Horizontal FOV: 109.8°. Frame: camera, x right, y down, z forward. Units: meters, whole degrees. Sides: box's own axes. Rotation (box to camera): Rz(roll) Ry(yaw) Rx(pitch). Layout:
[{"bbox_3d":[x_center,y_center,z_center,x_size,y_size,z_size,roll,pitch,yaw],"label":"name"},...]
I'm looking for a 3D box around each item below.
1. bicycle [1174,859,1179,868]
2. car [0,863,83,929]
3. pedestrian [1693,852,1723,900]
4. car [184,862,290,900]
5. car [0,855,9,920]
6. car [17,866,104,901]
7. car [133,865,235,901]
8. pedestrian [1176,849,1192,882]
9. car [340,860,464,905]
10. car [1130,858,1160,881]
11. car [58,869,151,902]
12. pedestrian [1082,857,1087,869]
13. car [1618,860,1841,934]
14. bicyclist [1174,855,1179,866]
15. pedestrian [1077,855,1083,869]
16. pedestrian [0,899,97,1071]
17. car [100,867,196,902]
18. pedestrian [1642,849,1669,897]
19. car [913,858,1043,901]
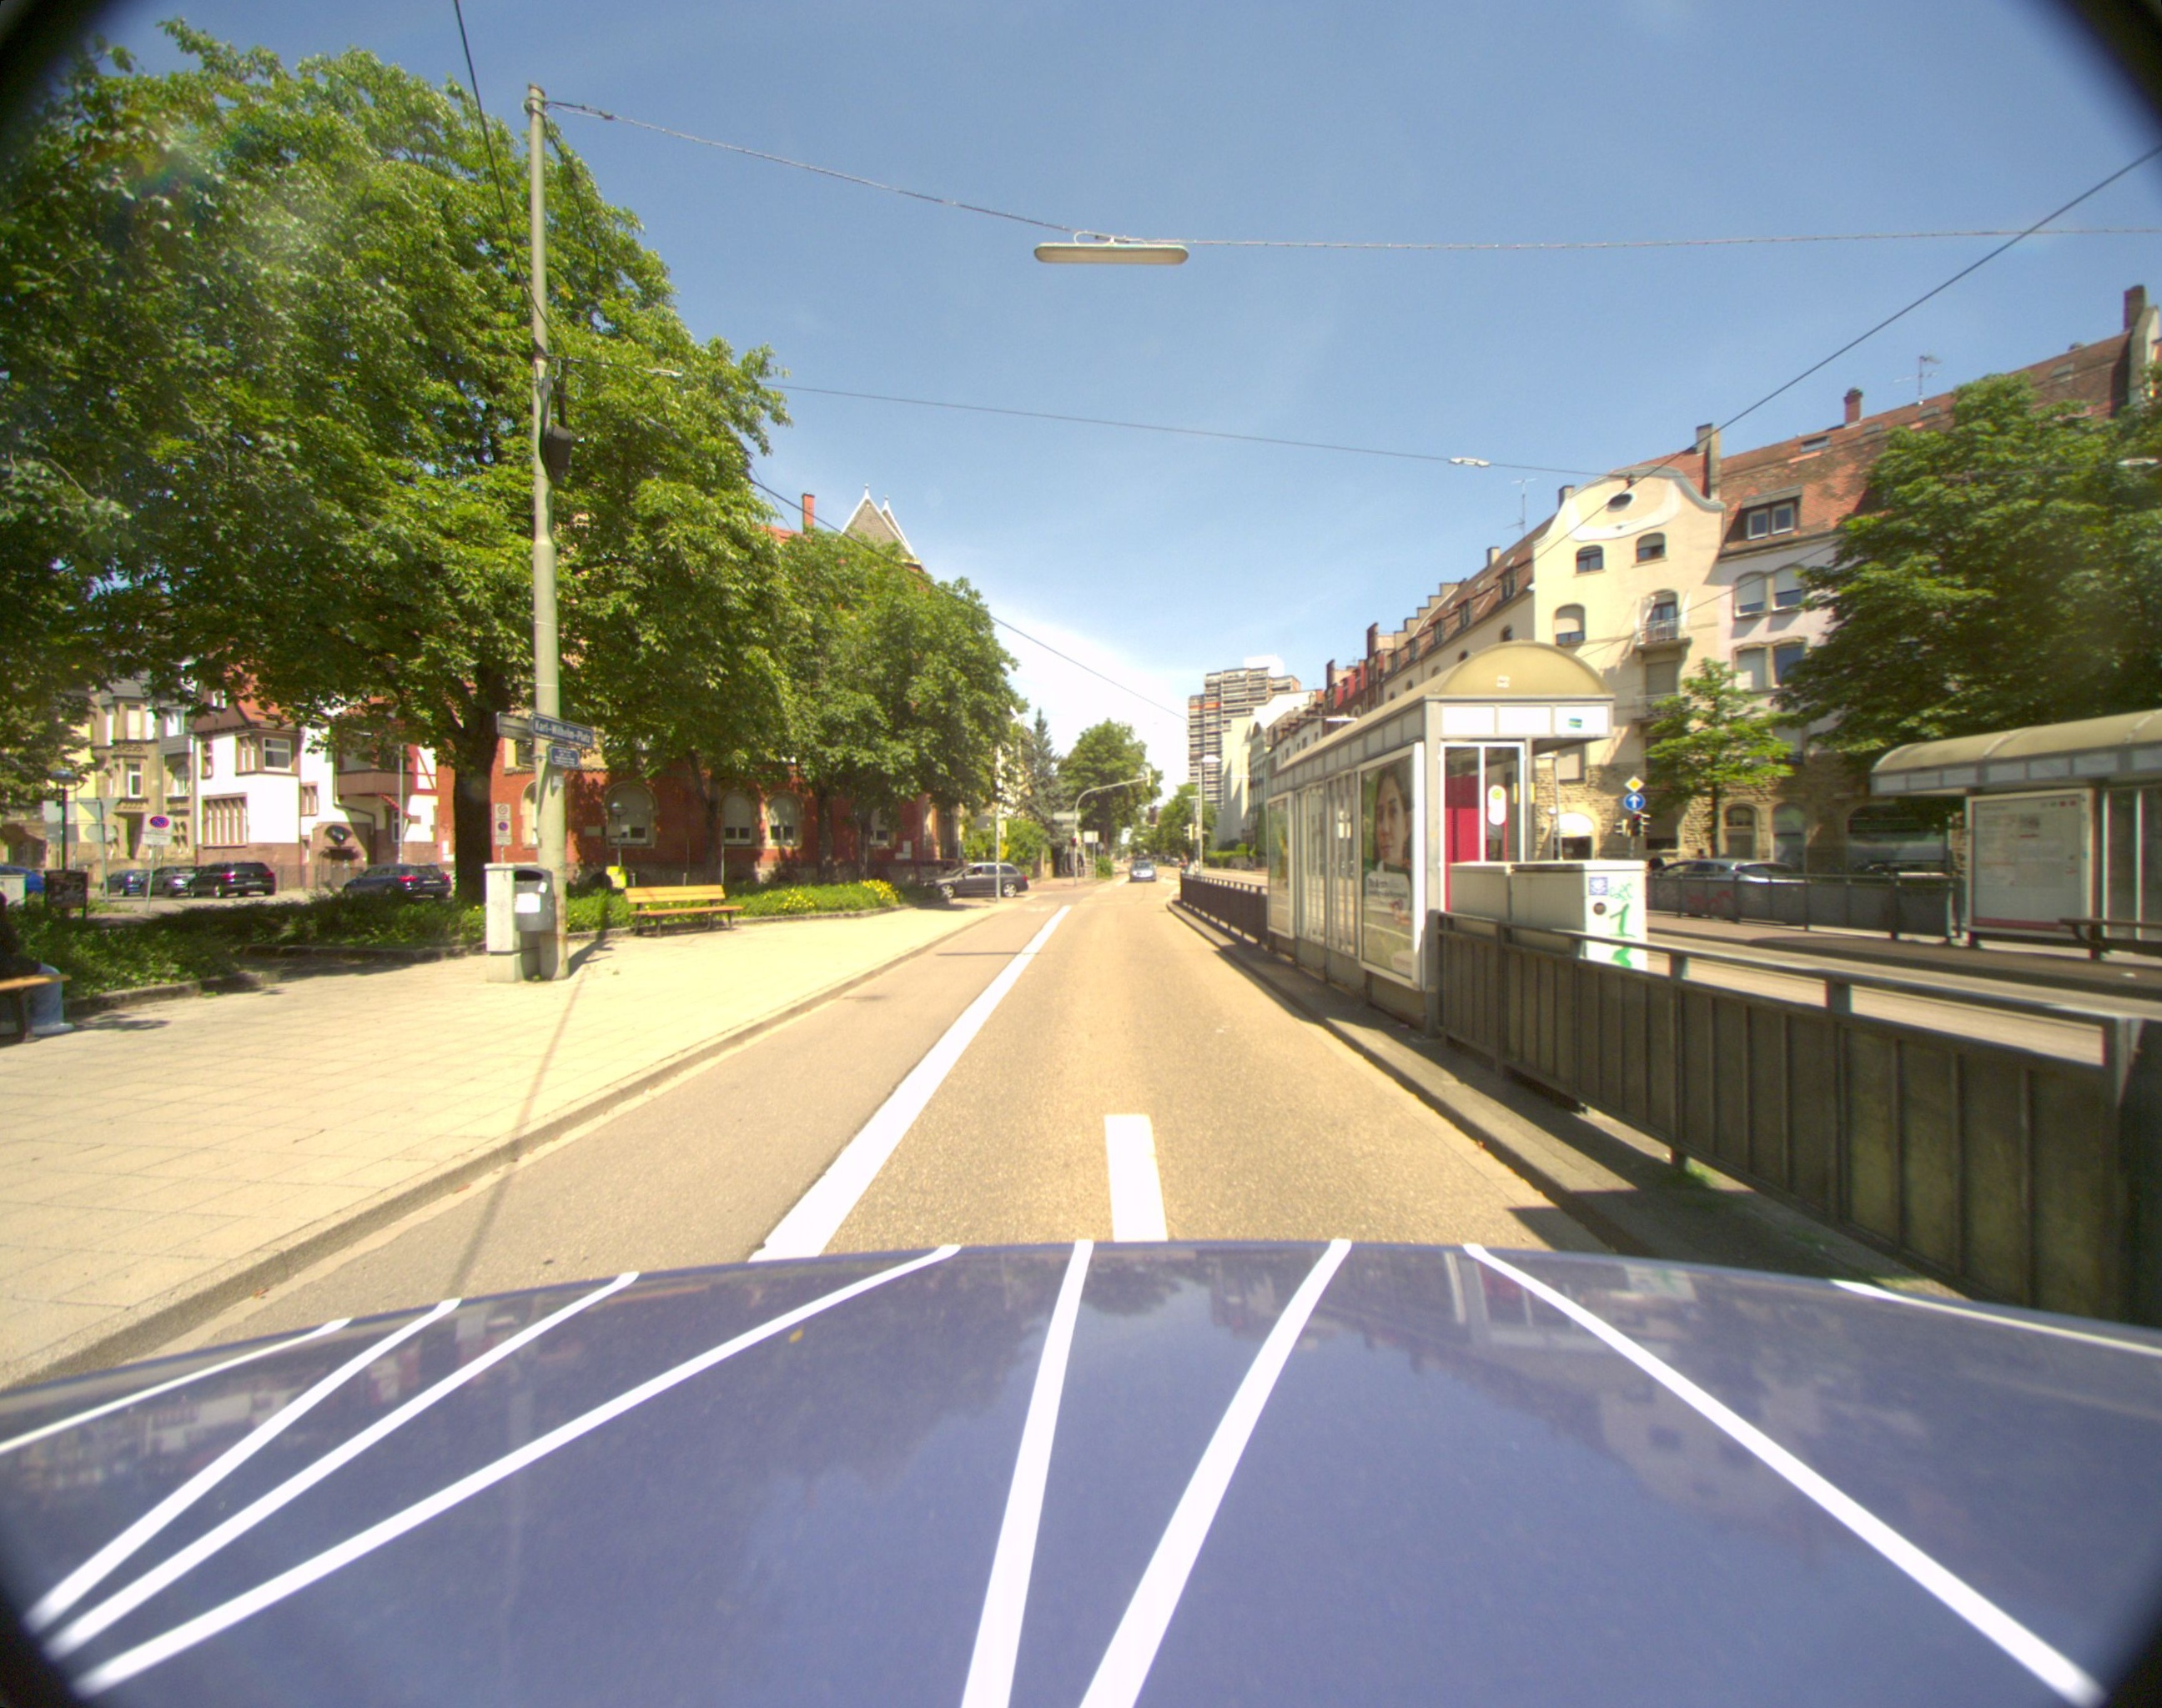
[{"bbox_3d":[16.229,1.560,129.155,0.644,1.503,1.970,-2,1,-2],"label":"bicycle"},{"bbox_3d":[-32.848,1.302,22.022,1.934,1.869,4.315,-2,1,23],"label":"car"},{"bbox_3d":[20.542,0.707,24.905,0.594,1.542,0.474,0,0,-1],"label":"pedestrian"},{"bbox_3d":[-39.594,1.278,35.660,4.299,1.608,1.941,-2,1,23],"label":"car"},{"bbox_3d":[-37.664,1.203,23.789,1.934,2.178,4.315,-2,1,23],"label":"car"},{"bbox_3d":[-59.183,1.715,44.072,4.299,1.862,1.941,-2,1,23],"label":"car"},{"bbox_3d":[-44.154,1.434,37.406,4.299,1.608,1.941,-2,1,23],"label":"car"},{"bbox_3d":[5.643,0.616,41.618,0.838,1.813,0.674,0,0,2],"label":"pedestrian"},{"bbox_3d":[-27.048,1.135,30.282,4.299,1.608,1.941,-2,1,23],"label":"car"},{"bbox_3d":[4.299,1.020,51.133,1.895,1.372,4.001,-2,1,5],"label":"car"},{"bbox_3d":[-53.029,1.733,41.263,4.299,1.608,1.941,-2,1,23],"label":"car"},{"bbox_3d":[0.533,1.261,108.572,0.686,1.732,0.660,-2,1,3],"label":"pedestrian"},{"bbox_3d":[14.834,0.905,17.724,1.812,1.386,3.999,-2,1,1],"label":"car"},{"bbox_3d":[16.200,1.048,129.137,0.644,1.864,0.716,-2,1,-2],"label":"bicyclist"},{"bbox_3d":[-0.101,0.908,86.407,0.702,1.645,0.665,0,0,1],"label":"pedestrian"},{"bbox_3d":[-7.746,0.909,5.414,0.566,1.136,0.725,0,1,-16],"label":"pedestrian"},{"bbox_3d":[-48.428,1.576,39.428,4.299,1.608,1.941,-2,1,23],"label":"car"},{"bbox_3d":[19.917,0.646,26.355,0.593,1.637,0.474,0,0,12],"label":"pedestrian"},{"bbox_3d":[-4.319,1.008,31.837,5.040,1.474,1.934,-2,1,-23],"label":"car"}]
